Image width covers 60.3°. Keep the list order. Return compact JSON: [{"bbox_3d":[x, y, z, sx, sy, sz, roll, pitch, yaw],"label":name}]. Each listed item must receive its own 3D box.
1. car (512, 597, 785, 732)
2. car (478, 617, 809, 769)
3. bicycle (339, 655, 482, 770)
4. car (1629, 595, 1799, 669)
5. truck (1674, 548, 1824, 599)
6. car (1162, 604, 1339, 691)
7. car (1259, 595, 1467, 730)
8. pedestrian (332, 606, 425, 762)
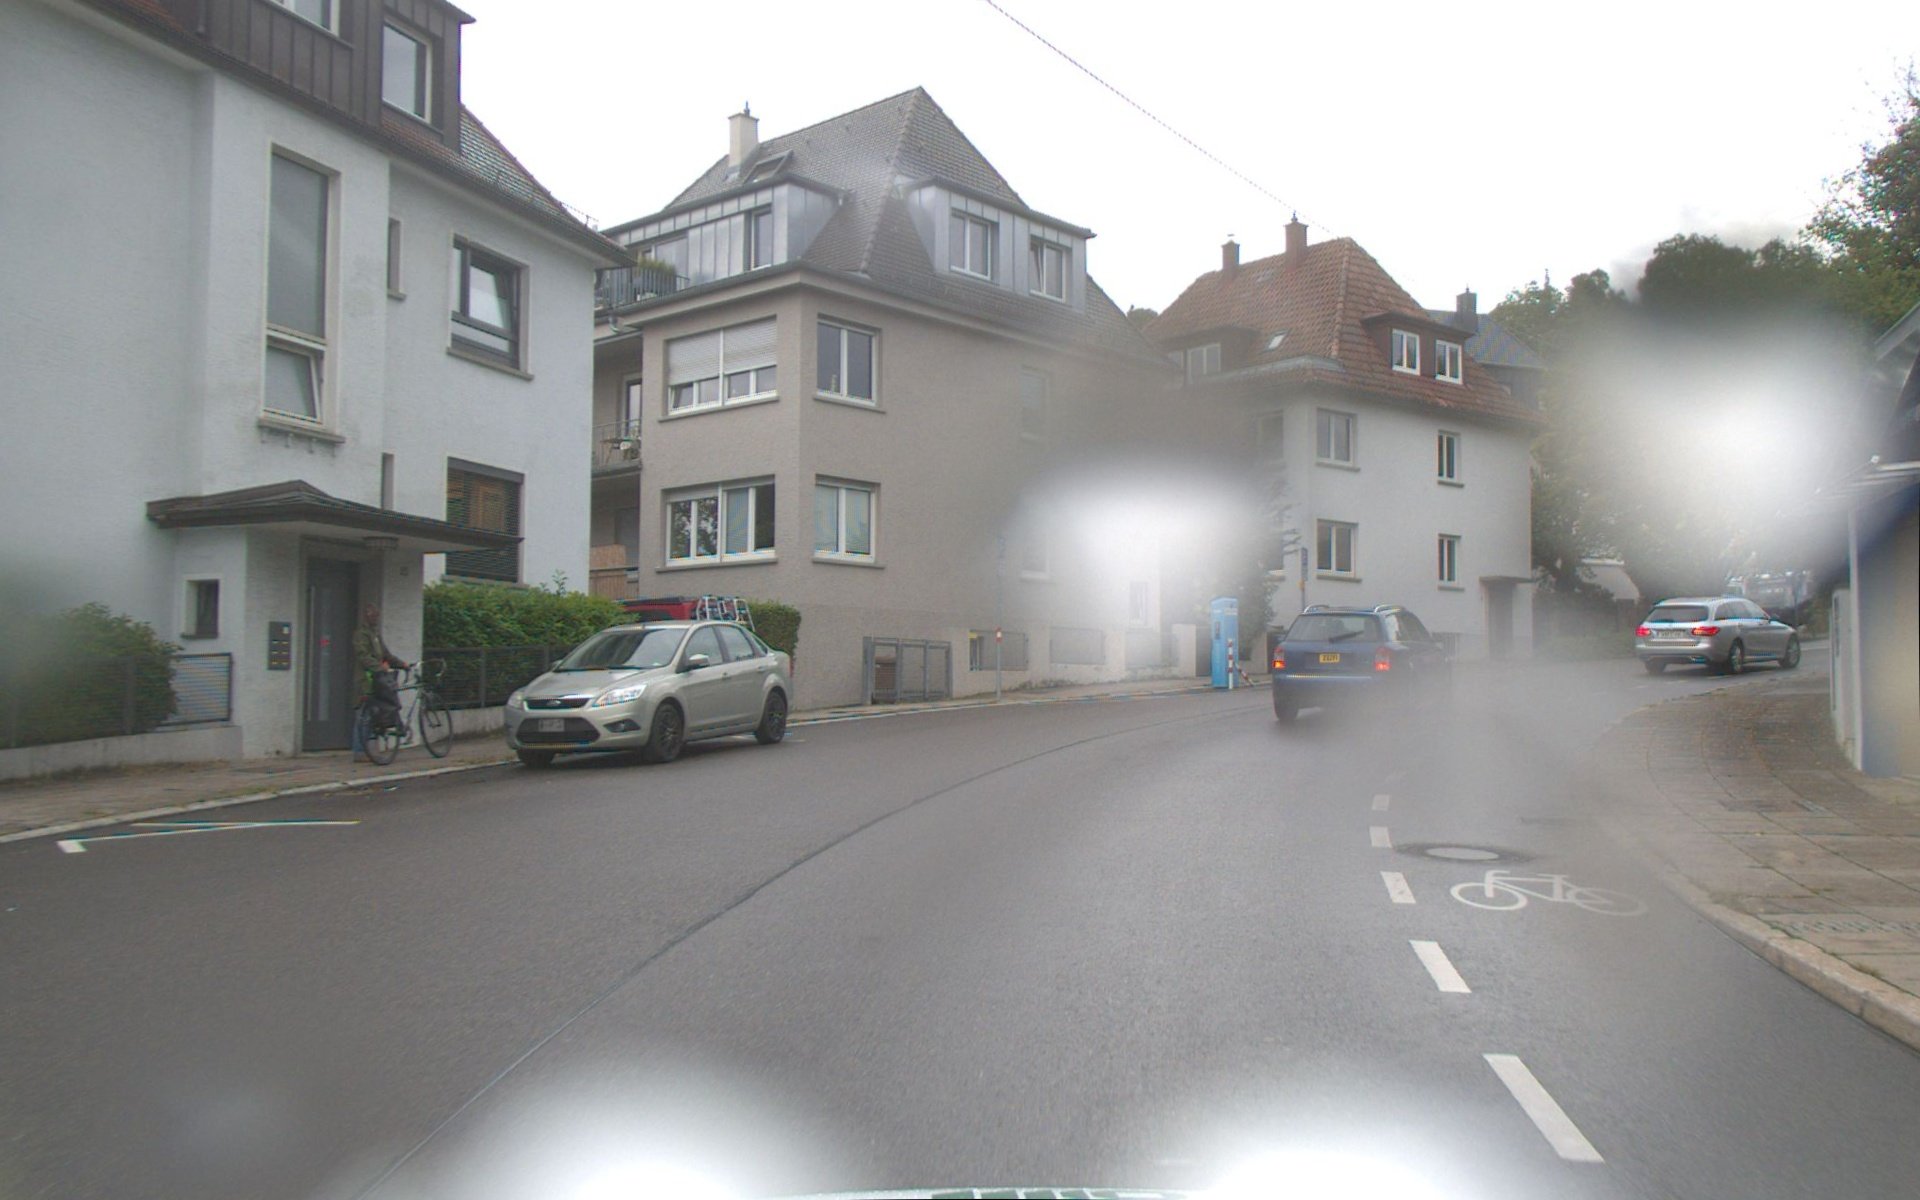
[{"bbox_3d":[-5.149,1.067,27.348,3.908,1.854,1.999,-6,-2,25],"label":"car"},{"bbox_3d":[-3.398,0.968,18.646,1.797,1.450,4.231,-2,-1,18],"label":"car"},{"bbox_3d":[-5.767,1.153,17.473,0.446,1.086,1.923,0,0,15],"label":"bicycle"},{"bbox_3d":[15.176,0.596,33.203,3.969,1.384,1.788,-1,0,-44],"label":"car"},{"bbox_3d":[37.210,-1.213,78.246,2.274,2.309,6.767,0,0,-21],"label":"truck"},{"bbox_3d":[7.540,1.262,43.211,1.980,1.651,4.196,-1,-8,-38],"label":"car"},{"bbox_3d":[5.358,0.725,21.604,1.776,1.464,4.078,3,2,26],"label":"car"},{"bbox_3d":[-6.196,0.871,17.647,0.482,1.605,0.948,0,0,15],"label":"pedestrian"}]
